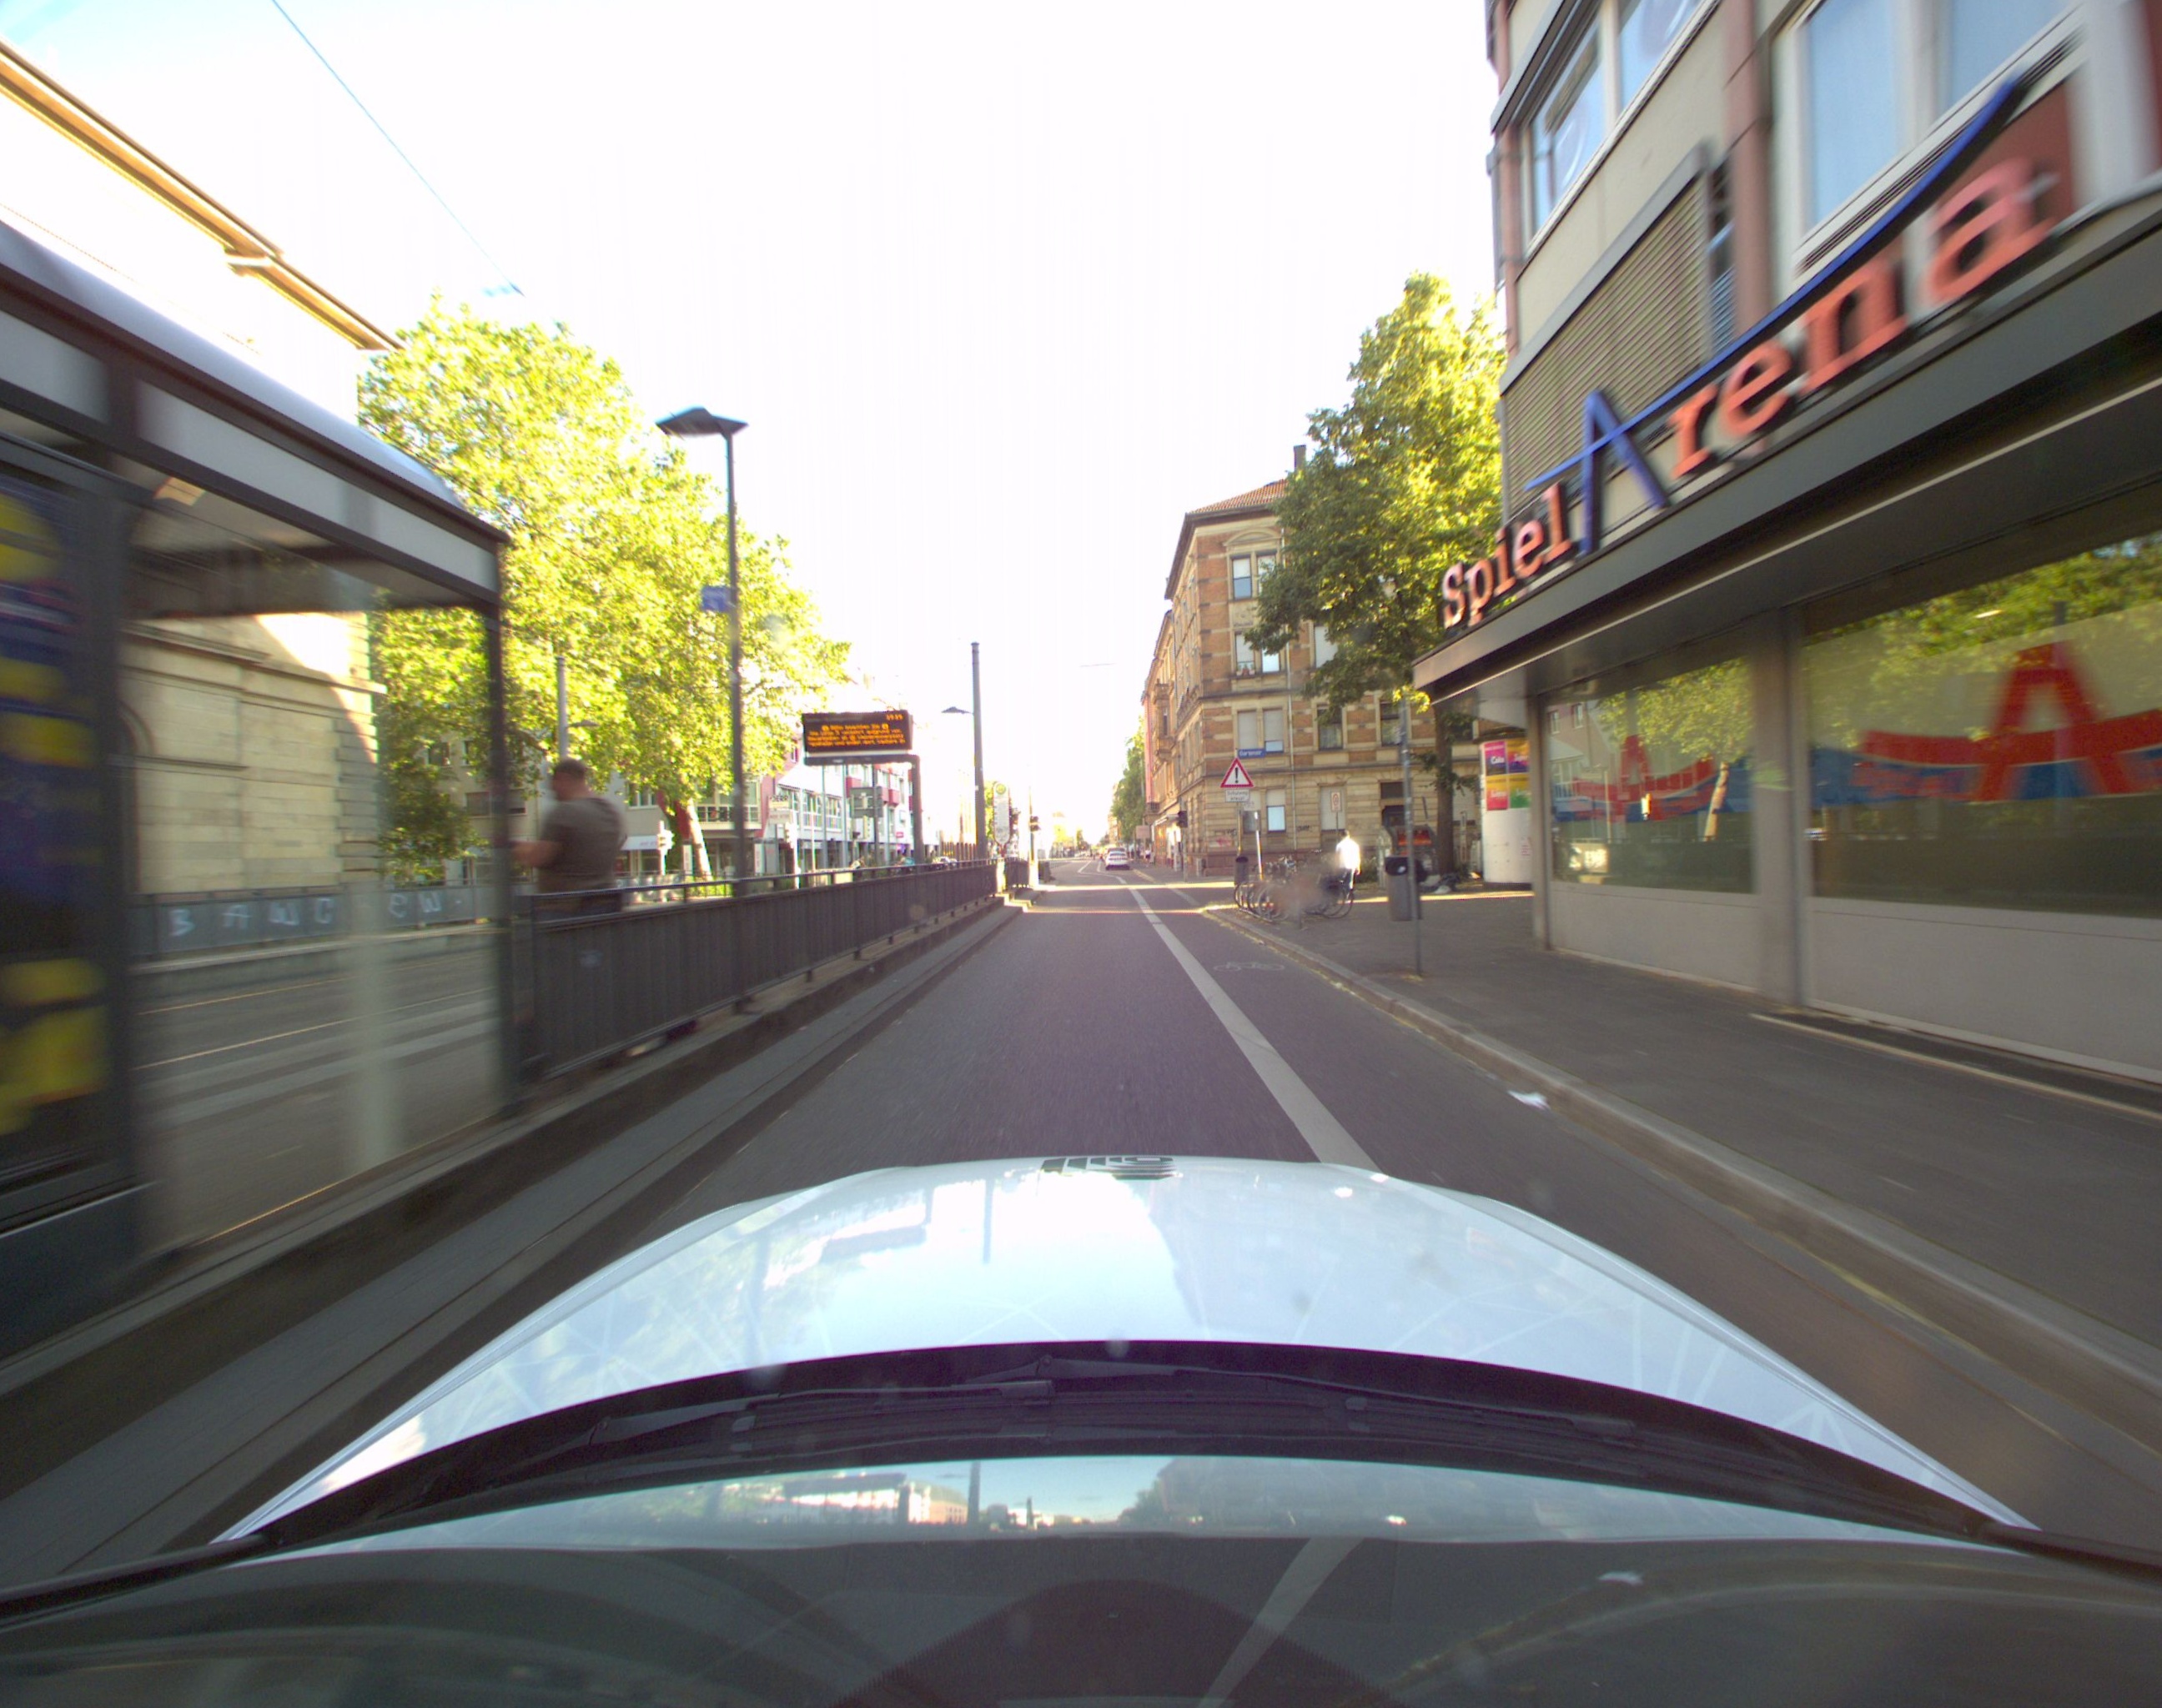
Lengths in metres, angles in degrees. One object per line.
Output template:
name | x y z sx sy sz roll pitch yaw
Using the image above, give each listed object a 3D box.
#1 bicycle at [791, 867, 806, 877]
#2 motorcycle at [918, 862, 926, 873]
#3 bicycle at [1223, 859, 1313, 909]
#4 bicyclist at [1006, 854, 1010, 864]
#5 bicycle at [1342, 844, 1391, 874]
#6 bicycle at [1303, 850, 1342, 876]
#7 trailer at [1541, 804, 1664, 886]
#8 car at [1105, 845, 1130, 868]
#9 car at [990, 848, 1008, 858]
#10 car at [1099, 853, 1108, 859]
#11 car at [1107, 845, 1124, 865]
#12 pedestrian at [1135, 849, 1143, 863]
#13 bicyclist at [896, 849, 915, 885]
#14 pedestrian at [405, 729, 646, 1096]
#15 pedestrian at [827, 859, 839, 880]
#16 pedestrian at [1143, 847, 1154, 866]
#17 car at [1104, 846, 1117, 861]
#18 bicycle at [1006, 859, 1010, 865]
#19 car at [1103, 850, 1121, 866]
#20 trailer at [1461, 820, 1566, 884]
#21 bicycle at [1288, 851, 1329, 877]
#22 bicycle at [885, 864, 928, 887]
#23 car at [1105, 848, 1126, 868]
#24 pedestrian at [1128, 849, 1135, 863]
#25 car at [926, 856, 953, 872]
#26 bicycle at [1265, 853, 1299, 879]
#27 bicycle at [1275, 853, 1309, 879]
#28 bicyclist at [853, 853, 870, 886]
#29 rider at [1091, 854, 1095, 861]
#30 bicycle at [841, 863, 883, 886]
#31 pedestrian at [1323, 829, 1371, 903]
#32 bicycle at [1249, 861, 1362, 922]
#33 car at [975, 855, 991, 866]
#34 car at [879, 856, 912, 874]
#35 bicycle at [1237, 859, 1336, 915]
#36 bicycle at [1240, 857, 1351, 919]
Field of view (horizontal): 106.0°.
bicycle | -18.566 1.180 53.576 0.455 0.658 1.807 1 0 -4
motorcycle | -17.128 1.484 87.859 0.671 1.205 2.129 0 -1 -15
bicycle | 4.193 0.665 18.304 1.829 1.054 0.710 -2 0 -2
bicyclist | -12.770 0.914 141.782 0.571 1.712 0.743 -4 -1 -10
bicycle | 11.746 0.214 33.617 0.616 1.182 2.089 -2 0 -25
bicycle | 9.953 0.377 33.626 0.497 1.024 1.895 -2 0 -19
trailer | 13.470 -0.196 21.222 1.565 1.884 3.196 -4 -1 12
car | 2.927 0.212 65.746 1.959 1.771 4.878 -1 0 2
car | -18.243 -0.245 181.060 3.855 1.628 1.874 -5 -14 1
car | 5.576 0.502 201.859 2.058 1.389 4.226 1 0 1
car | 3.812 0.107 88.477 1.698 2.120 3.710 -1 -1 4
pedestrian | 6.956 0.245 98.233 0.773 1.567 0.914 -5 0 2
bicyclist | -8.458 0.604 39.201 0.740 1.712 0.534 -2 0 2
pedestrian | -2.845 0.273 4.262 0.620 1.712 0.850 -2 0 0
pedestrian | -20.719 1.311 67.999 0.741 1.712 0.615 -2 0 -3
pedestrian | 5.626 0.198 68.227 0.772 1.567 0.915 -5 0 4
car | 4.476 -0.062 123.512 1.963 2.014 4.560 -3 0 2
bicycle | -12.766 1.437 141.988 0.582 1.077 2.178 -4 0 -9
car | 3.553 0.471 93.579 1.943 1.788 5.180 0 0 0
trailer | 13.218 -0.056 25.151 1.952 1.732 3.948 -3 -1 15
bicycle | 9.390 0.414 33.726 0.464 1.039 1.891 -2 0 -27
bicycle | -8.390 1.048 39.203 1.886 1.077 0.584 1 0 2
car | 3.323 0.348 77.751 1.947 1.869 4.992 0 0 2
pedestrian | 6.085 0.235 98.400 0.773 1.567 0.914 -5 0 2
car | -15.530 1.081 89.699 2.084 1.713 4.818 0 -1 0
bicycle | 8.267 0.475 33.561 0.452 1.024 1.896 -2 0 -17
bicycle | 8.676 0.481 33.556 0.418 1.024 1.896 -2 0 -17
bicyclist | -10.755 0.739 39.880 0.746 1.578 0.530 -2 0 -21
rider | 2.675 0.673 176.316 0.880 1.481 0.713 0 0 2
bicycle | -10.706 0.996 39.862 1.901 1.077 0.580 1 0 -22
pedestrian | 6.280 0.259 19.264 0.780 1.665 1.034 -2 2 2
bicycle | 4.177 0.686 15.243 1.908 1.047 0.680 -2 0 -2
car | -14.864 0.924 123.704 1.864 1.600 4.251 -1 0 -2
car | -15.959 0.919 70.422 1.864 1.439 4.704 -1 0 -1
bicycle | 4.178 0.664 16.630 1.829 1.054 0.717 -2 0 -2
bicycle | 4.171 0.643 15.900 1.965 1.104 0.614 -2 0 -2
